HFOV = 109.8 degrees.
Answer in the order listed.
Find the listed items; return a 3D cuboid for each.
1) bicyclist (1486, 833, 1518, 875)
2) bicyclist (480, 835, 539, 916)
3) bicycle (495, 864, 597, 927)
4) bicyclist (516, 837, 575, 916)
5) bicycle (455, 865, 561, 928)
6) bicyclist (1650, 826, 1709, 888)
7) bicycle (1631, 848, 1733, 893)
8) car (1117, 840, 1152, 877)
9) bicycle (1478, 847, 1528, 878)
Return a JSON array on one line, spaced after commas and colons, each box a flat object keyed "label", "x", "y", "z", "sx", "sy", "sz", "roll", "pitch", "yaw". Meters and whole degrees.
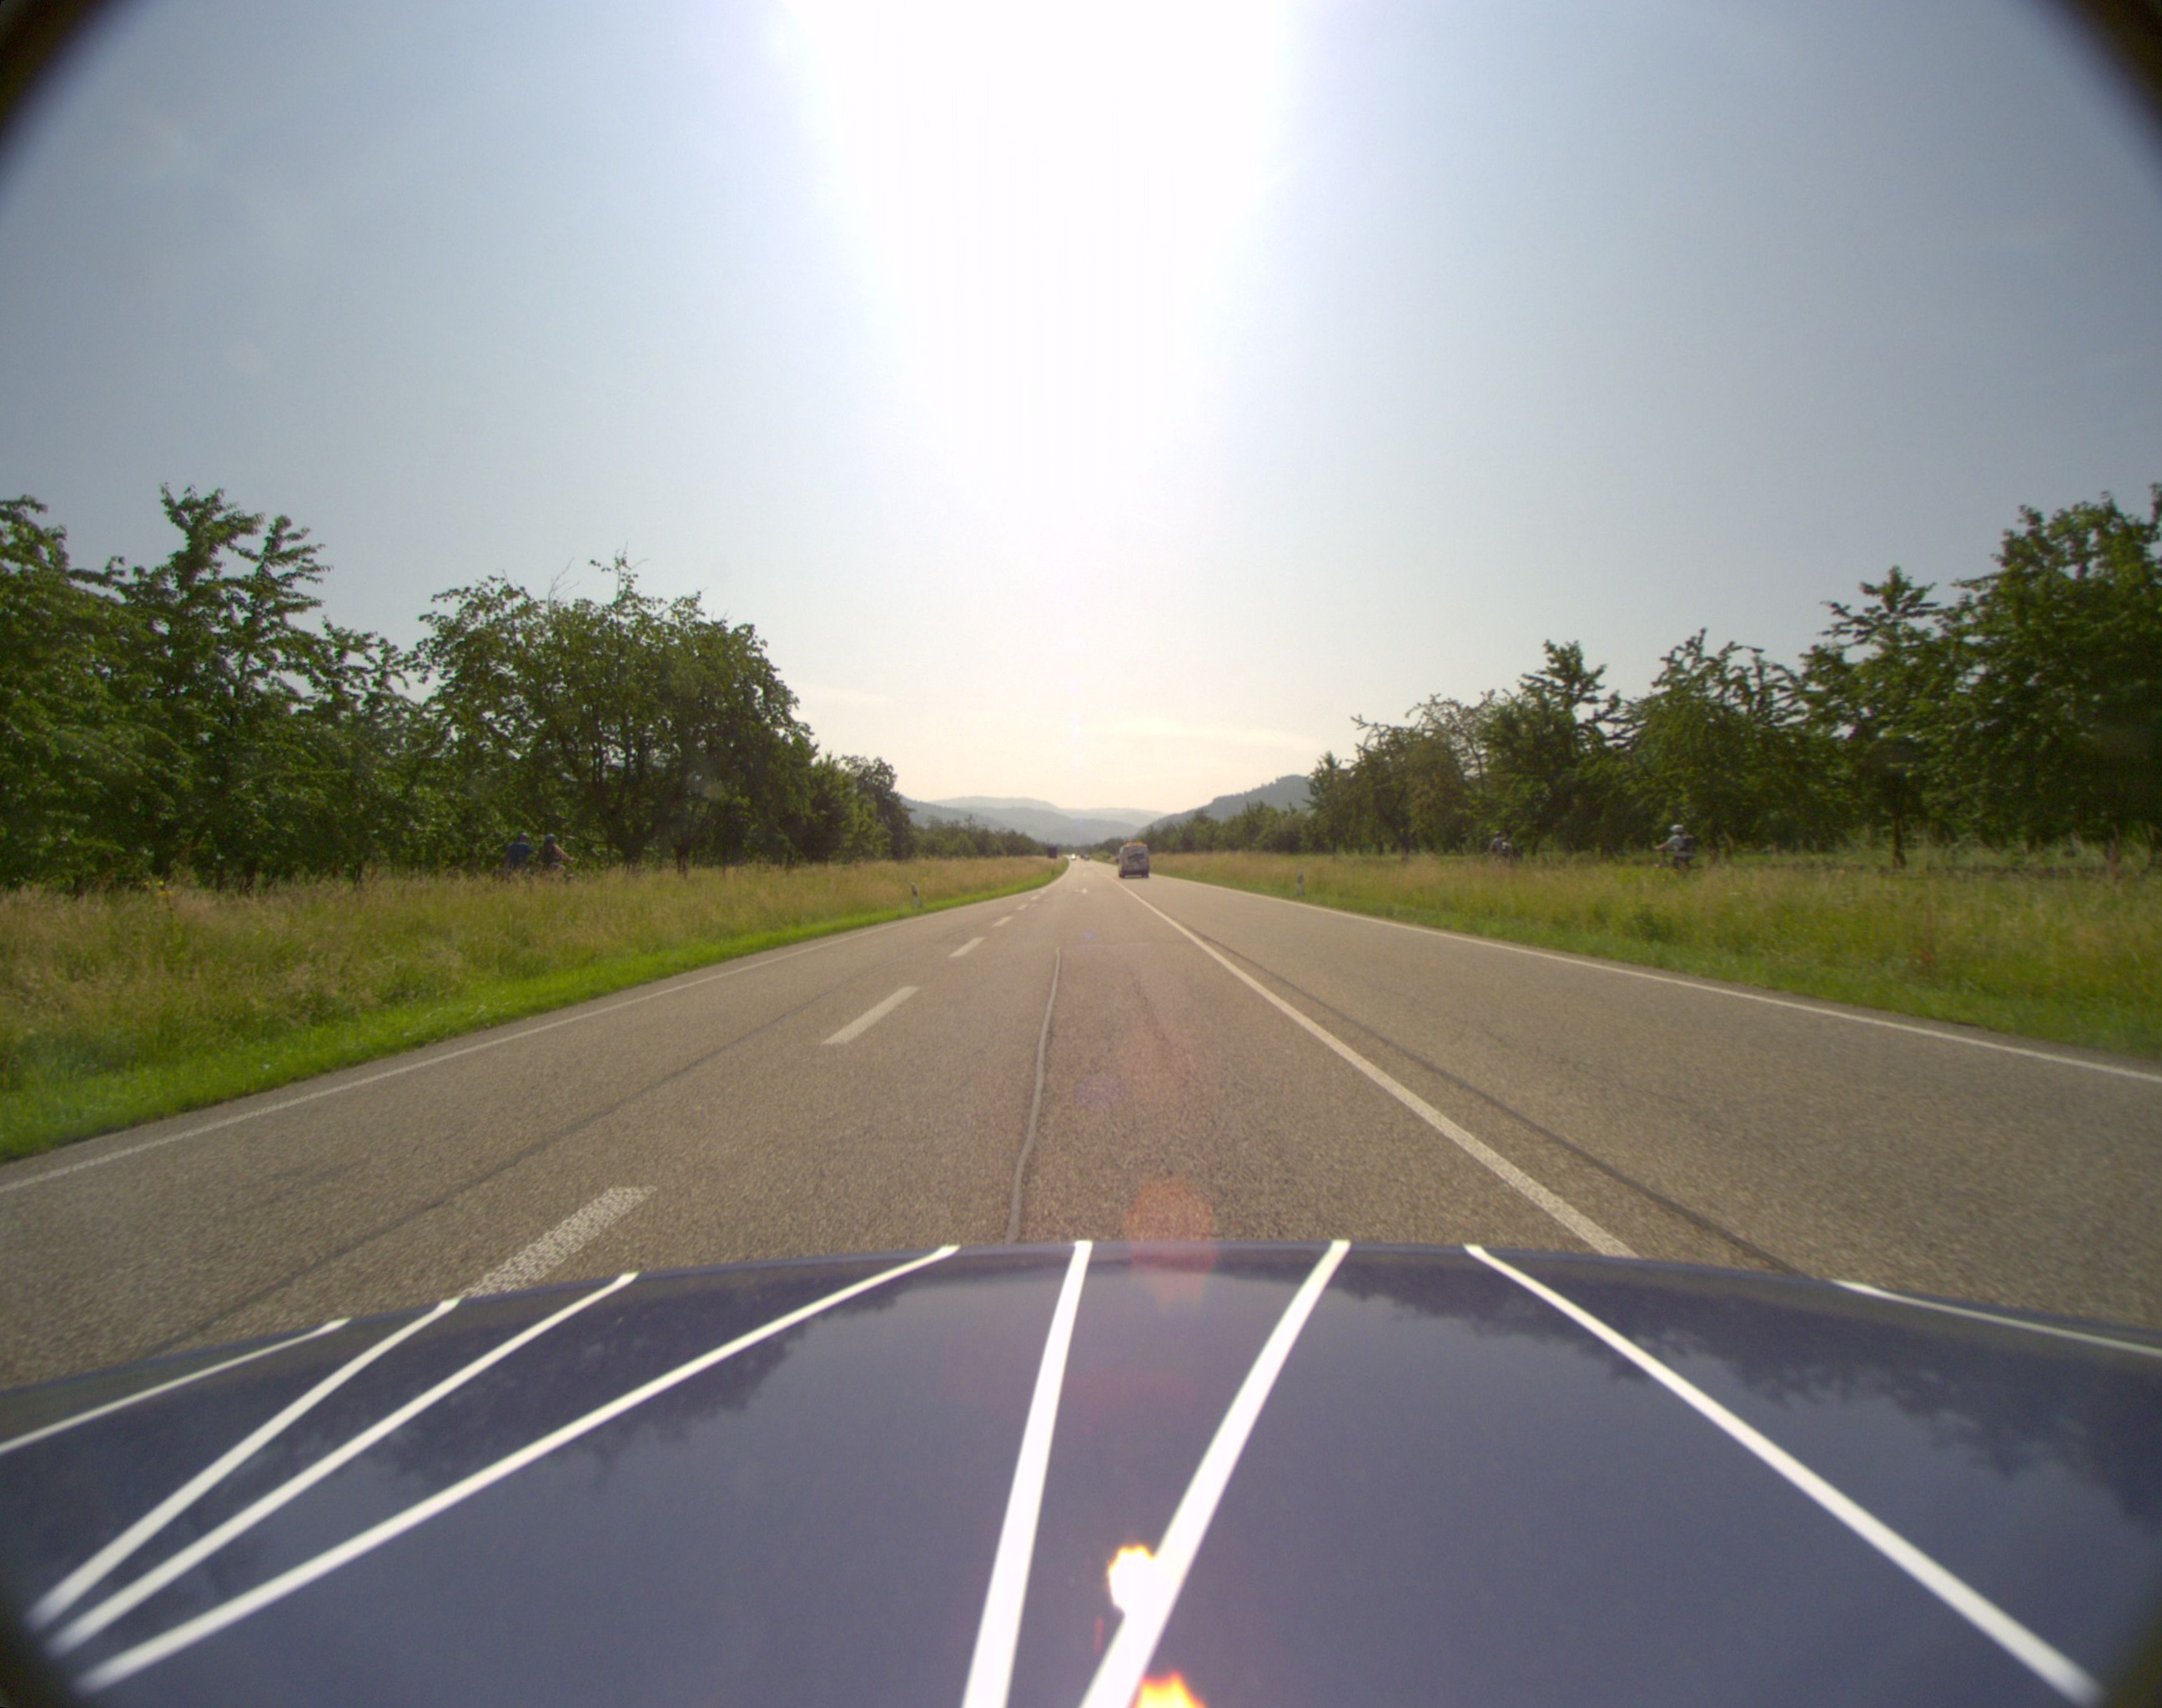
[{"label": "bicyclist", "x": 14.595, "y": -0.020, "z": 26.354, "sx": 0.643, "sy": 1.406, "sz": 0.863, "roll": -2, "pitch": 1, "yaw": 1}, {"label": "bicyclist", "x": -13.853, "y": 0.513, "z": 18.443, "sx": 0.751, "sy": 1.918, "sz": 0.828, "roll": 0, "pitch": 0, "yaw": 5}, {"label": "bicycle", "x": -12.854, "y": 0.965, "z": 18.360, "sx": 0.751, "sy": 1.410, "sz": 2.222, "roll": 0, "pitch": 0, "yaw": 5}, {"label": "bicyclist", "x": -12.864, "y": 0.532, "z": 18.277, "sx": 0.751, "sy": 1.856, "sz": 0.869, "roll": 0, "pitch": 0, "yaw": 5}, {"label": "bicycle", "x": -13.849, "y": 0.994, "z": 18.454, "sx": 0.751, "sy": 1.410, "sz": 2.222, "roll": 0, "pitch": 0, "yaw": 5}, {"label": "bicyclist", "x": 14.540, "y": 0.055, "z": 18.479, "sx": 0.742, "sy": 1.446, "sz": 0.863, "roll": -2, "pitch": 1, "yaw": 1}, {"label": "bicycle", "x": 14.550, "y": 0.362, "z": 18.484, "sx": 0.742, "sy": 0.983, "sz": 2.225, "roll": -2, "pitch": 1, "yaw": 1}, {"label": "car", "x": 4.114, "y": 0.316, "z": 59.290, "sx": 2.166, "sy": 2.653, "sz": 6.142, "roll": -2, "pitch": 1, "yaw": -1}, {"label": "bicycle", "x": 14.605, "y": 0.268, "z": 26.358, "sx": 0.650, "sy": 0.983, "sz": 1.955, "roll": -2, "pitch": 1, "yaw": 1}]
